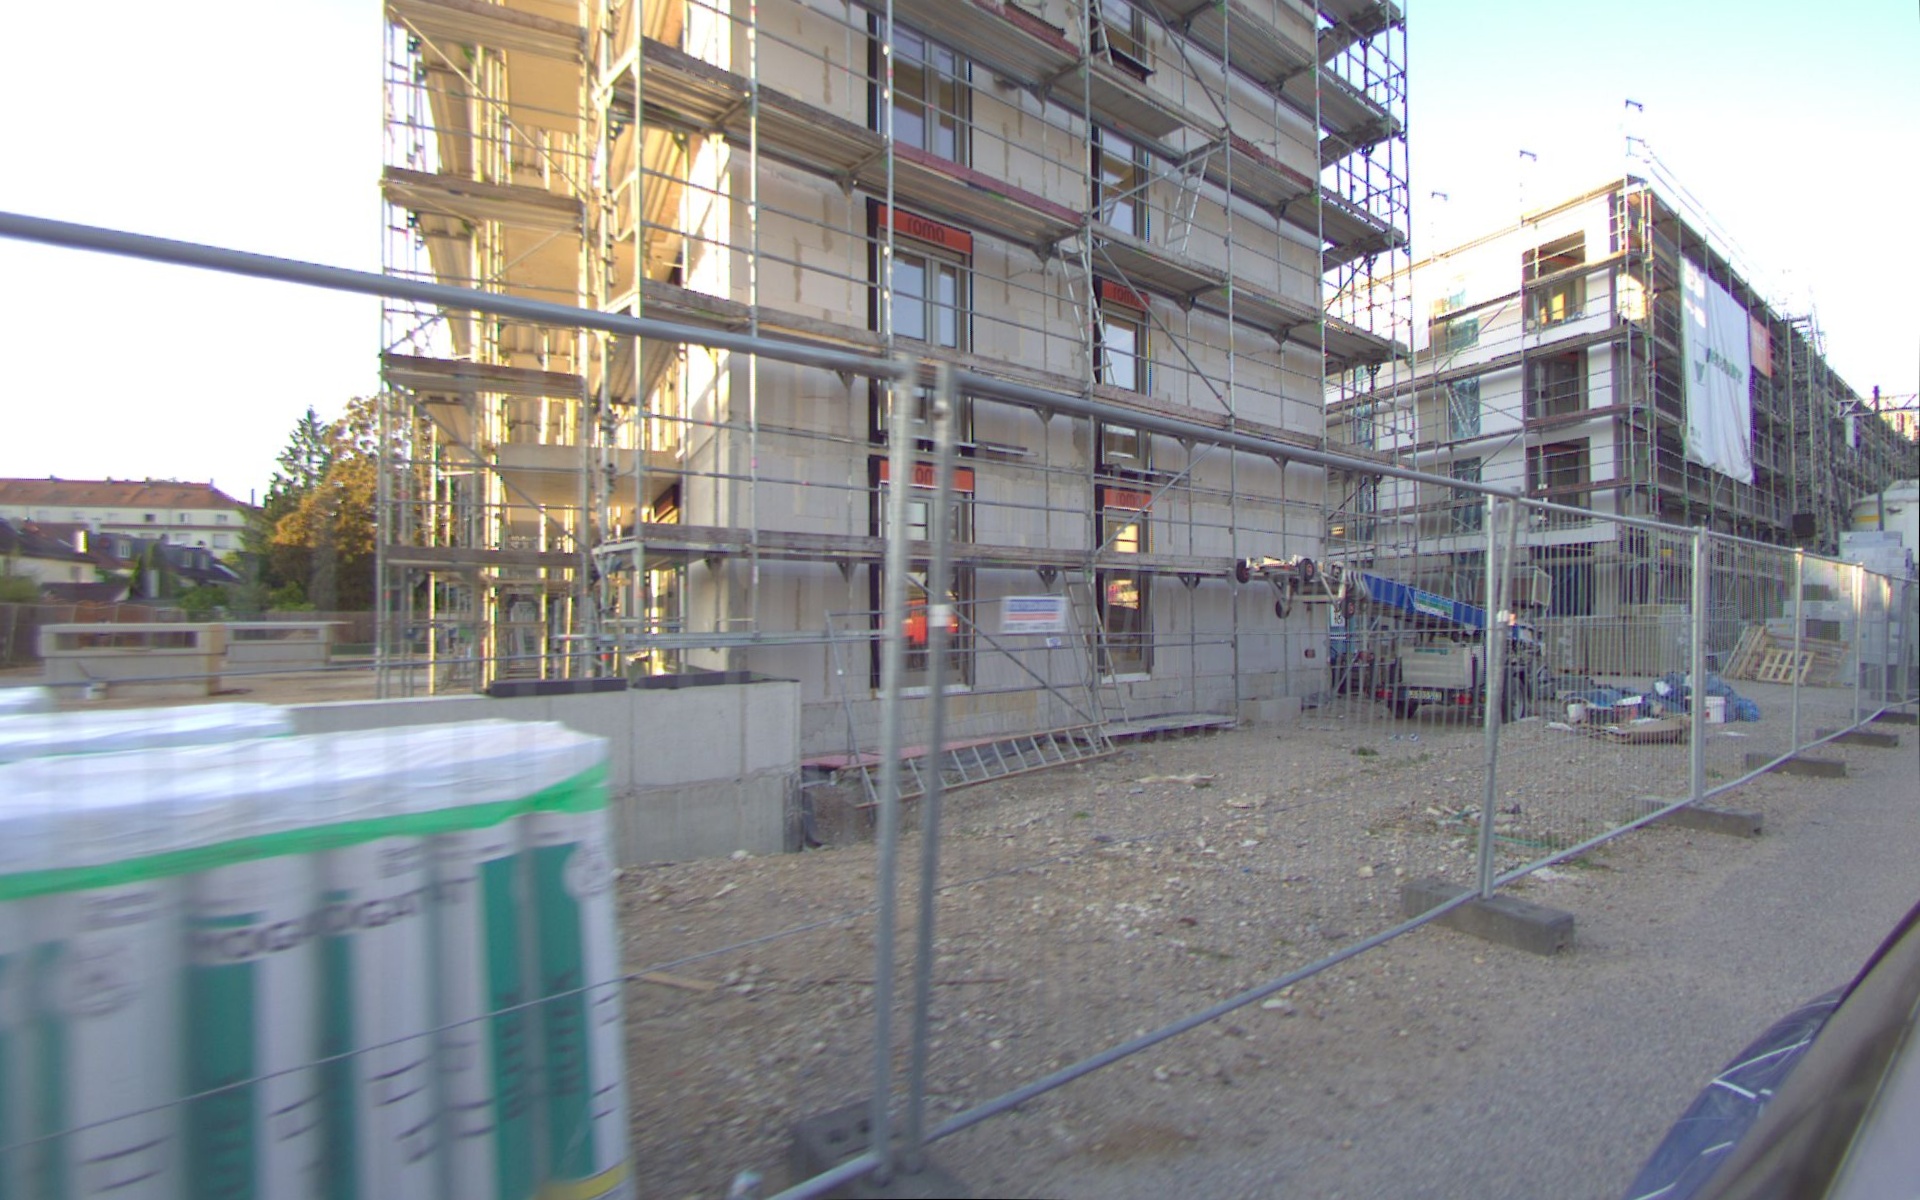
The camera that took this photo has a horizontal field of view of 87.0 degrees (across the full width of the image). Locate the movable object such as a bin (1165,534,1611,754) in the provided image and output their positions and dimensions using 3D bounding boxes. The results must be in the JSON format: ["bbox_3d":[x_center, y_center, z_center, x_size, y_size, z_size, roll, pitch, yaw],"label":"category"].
[{"bbox_3d":[6.307,0.475,13.991,8.216,2.302,2.069,0,0,-39],"label":"movable object such as a bin"}]

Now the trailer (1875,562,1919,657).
[{"bbox_3d":[32.073,0.312,33.210,6.133,2.949,2.576,0,-1,-43],"label":"trailer"}]
